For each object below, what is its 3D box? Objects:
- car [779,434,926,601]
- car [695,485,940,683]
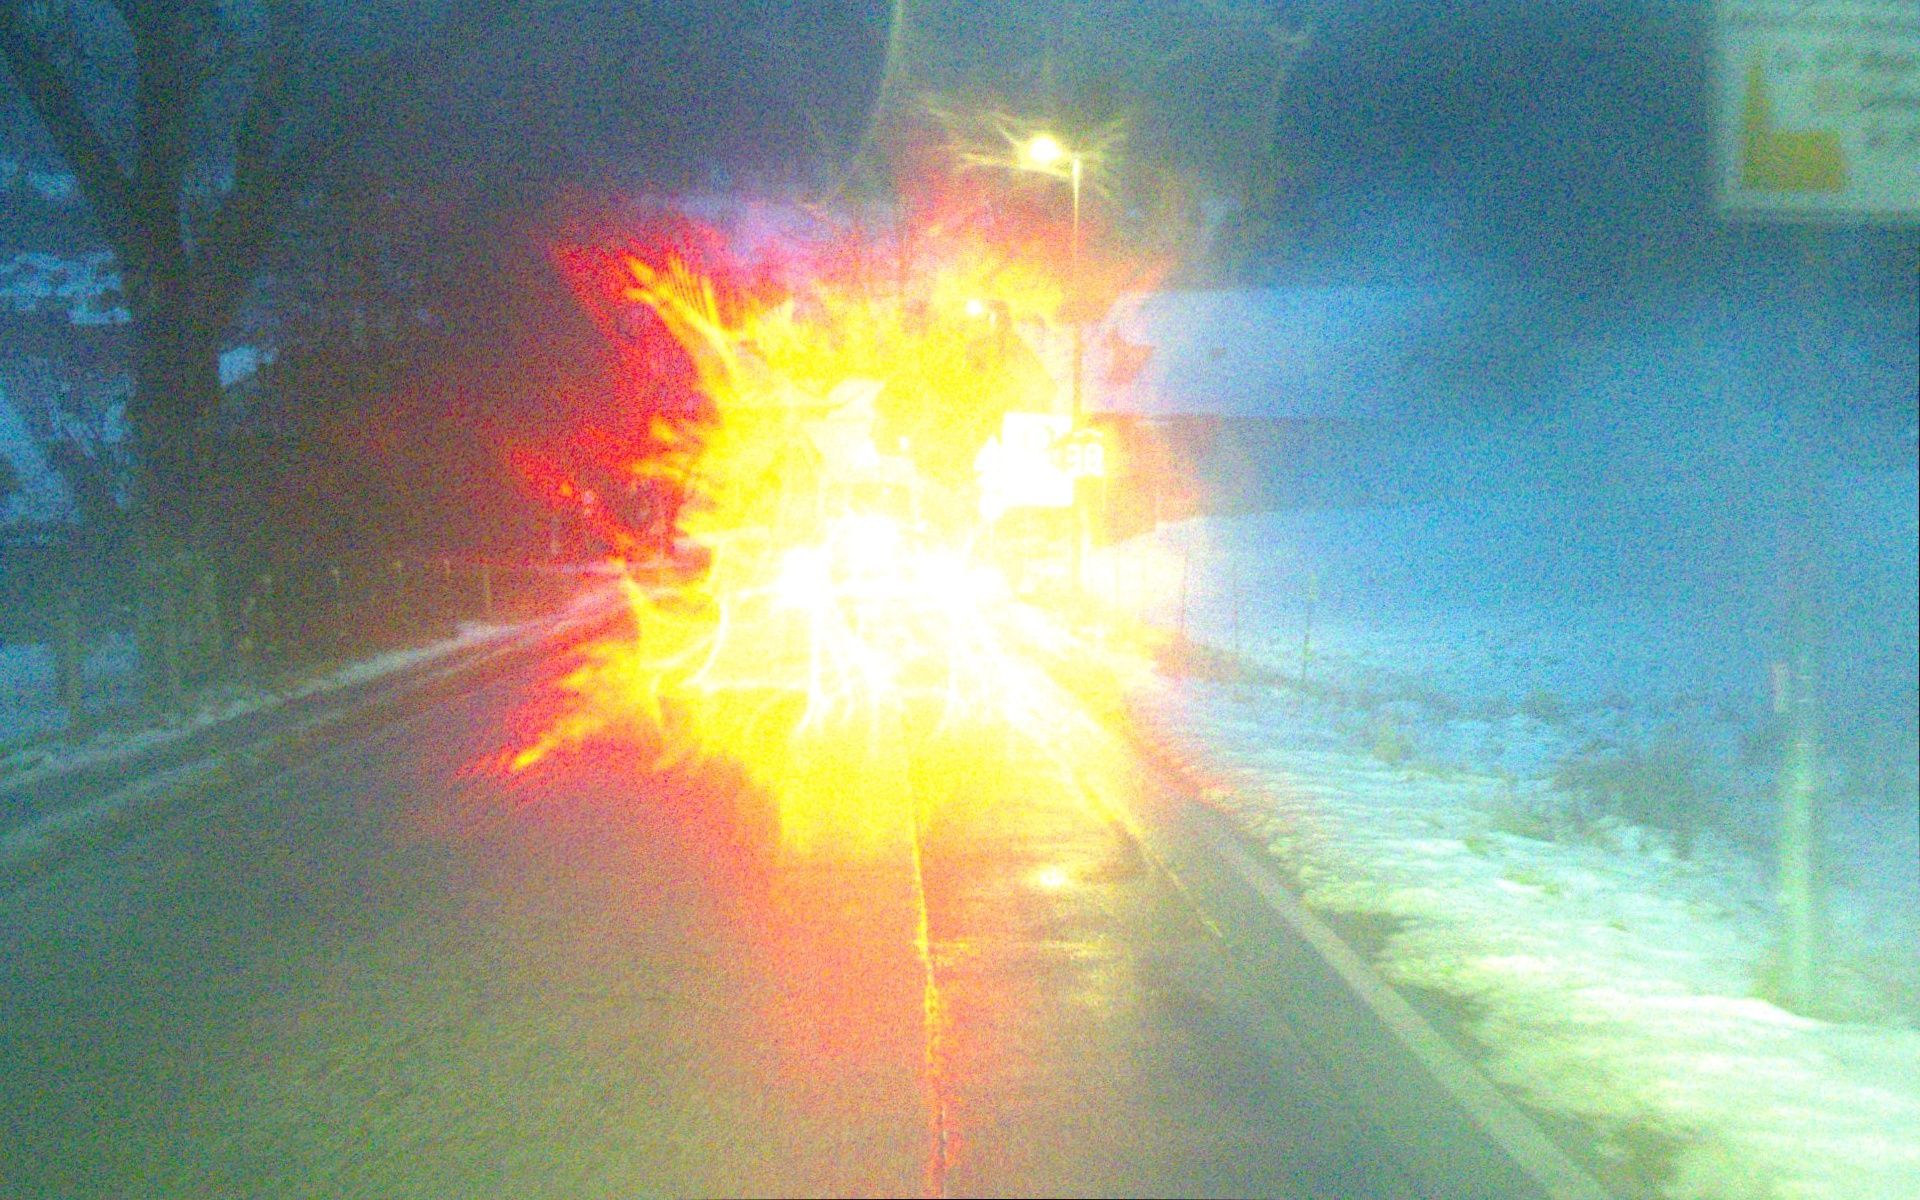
[{"bbox_3d":[-2.023,-1.530,66.411,2.435,3.008,5.324,-1,0,2],"label":"car"},{"bbox_3d":[-1.399,-0.191,34.492,2.274,1.834,5.007,0,1,-2],"label":"car"}]
